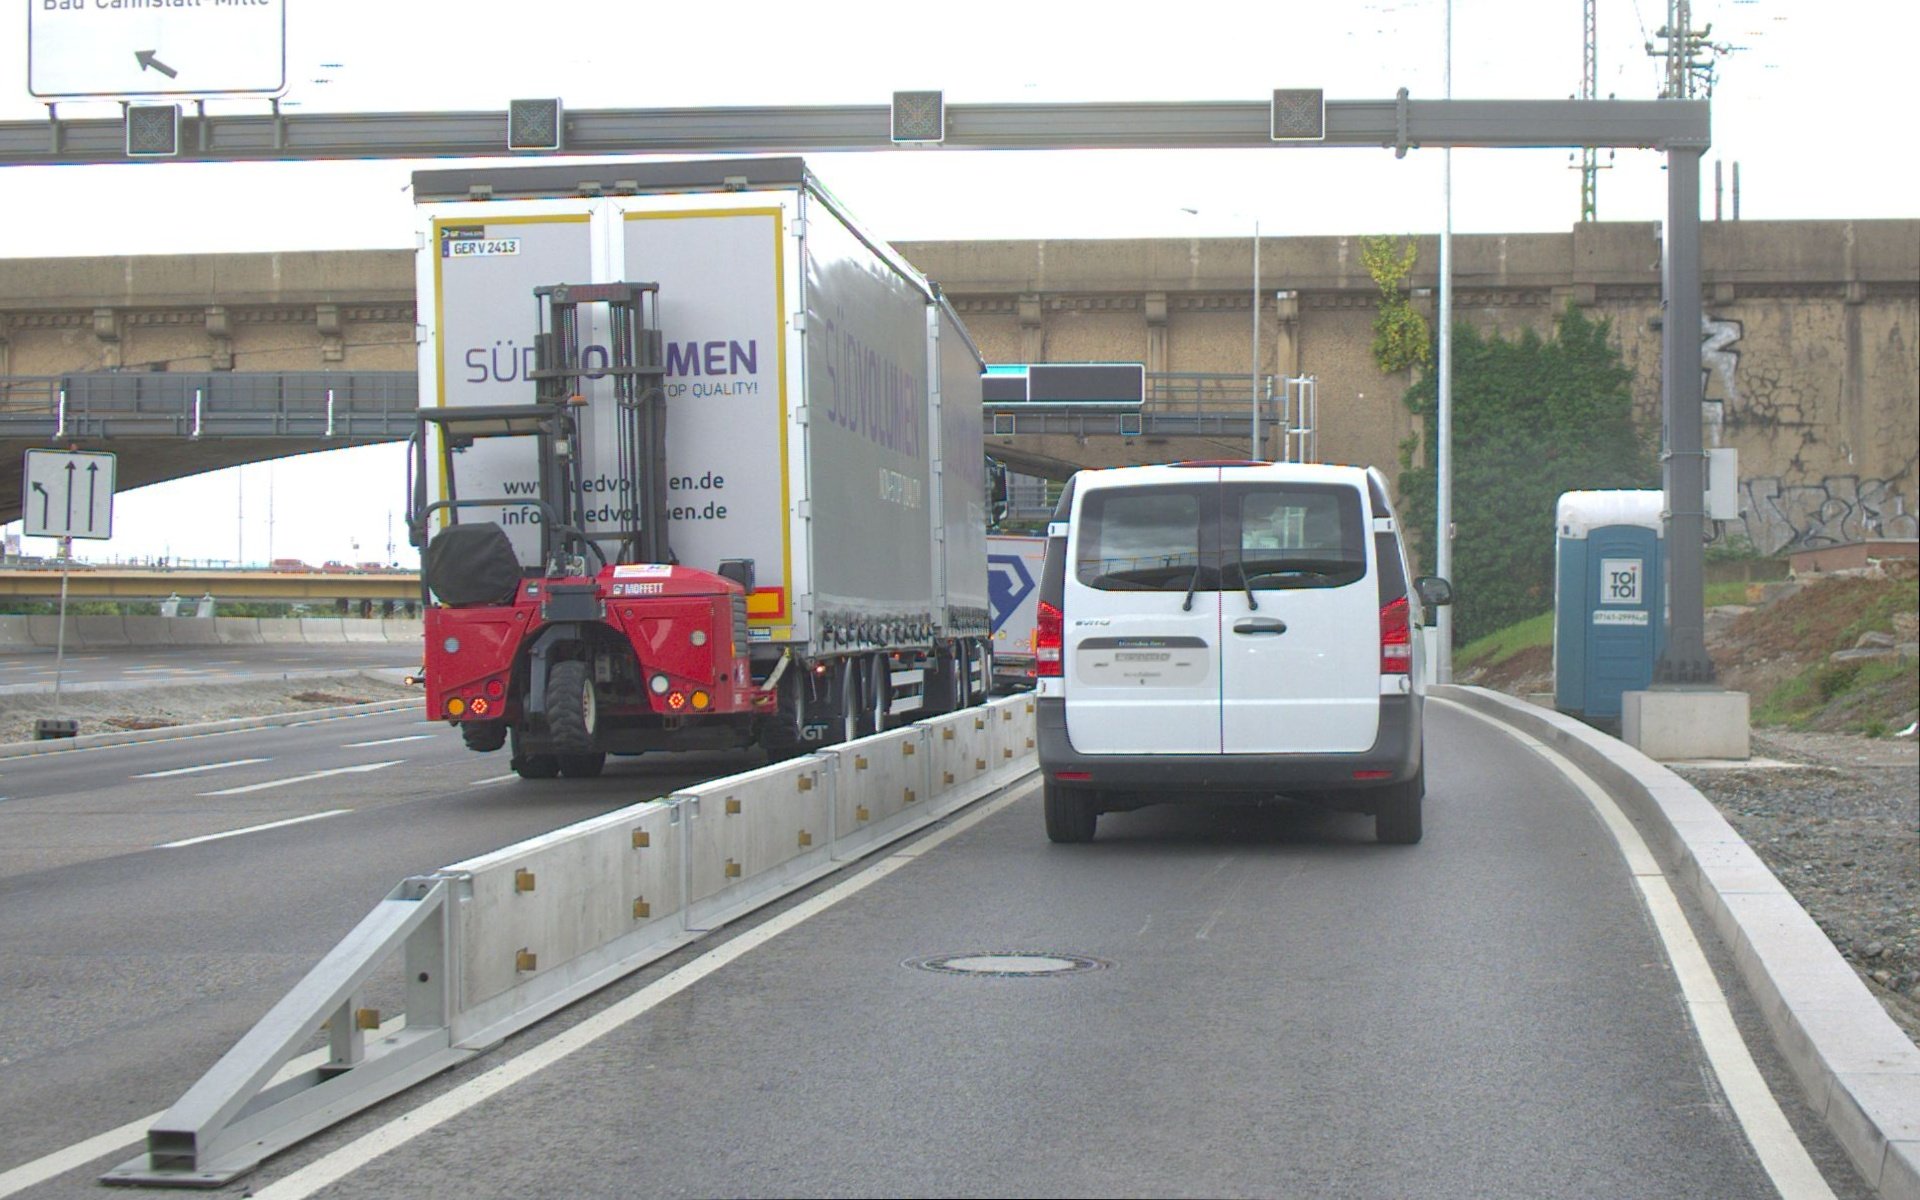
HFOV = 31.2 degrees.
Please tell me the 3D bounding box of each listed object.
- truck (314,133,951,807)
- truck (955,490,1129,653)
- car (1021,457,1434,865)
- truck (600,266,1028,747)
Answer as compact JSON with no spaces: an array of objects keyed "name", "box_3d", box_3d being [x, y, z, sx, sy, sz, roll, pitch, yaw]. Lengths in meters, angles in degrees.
[{"name":"truck","box_3d":[-1.994,-0.795,25.762,2.918,4.003,10.199,1,0,5]},{"name":"truck","box_3d":[2.376,-0.655,90.566,3.317,3.796,16.589,2,0,5]},{"name":"car","box_3d":[1.566,0.238,18.418,1.877,1.884,4.751,0,1,8]},{"name":"truck","box_3d":[-1.178,-0.795,35.772,2.988,4.162,11.238,1,0,5]}]
